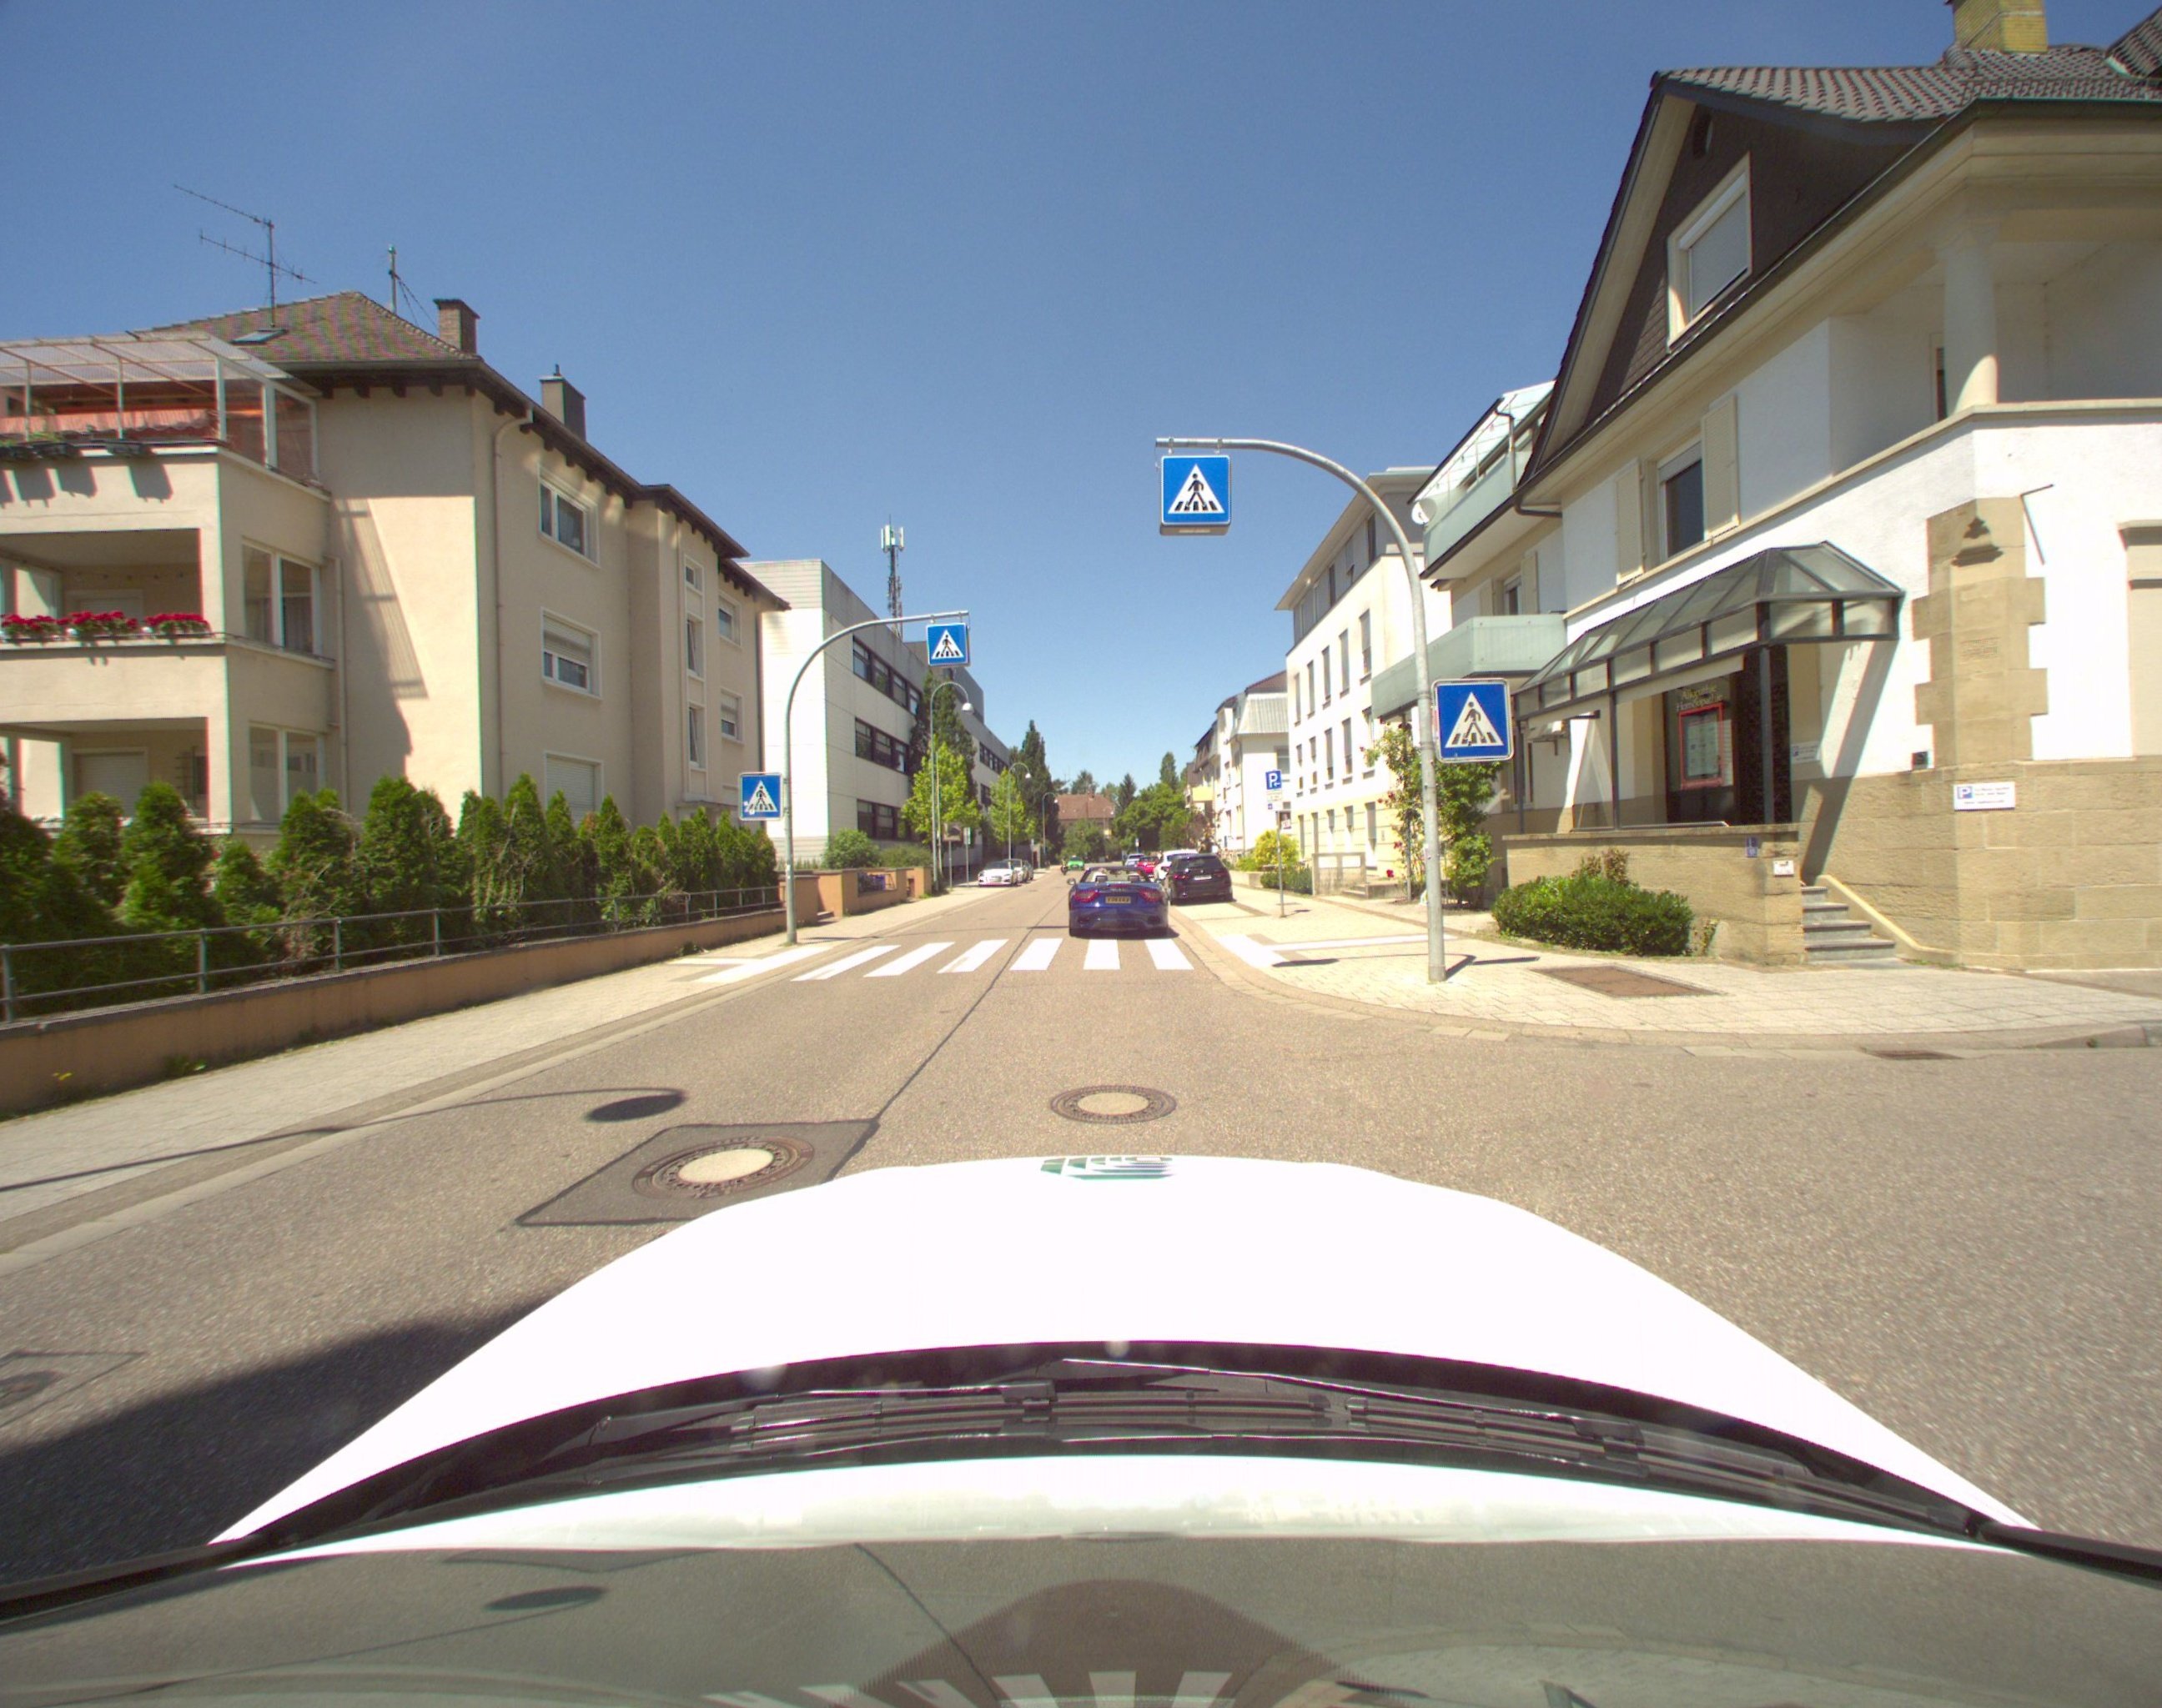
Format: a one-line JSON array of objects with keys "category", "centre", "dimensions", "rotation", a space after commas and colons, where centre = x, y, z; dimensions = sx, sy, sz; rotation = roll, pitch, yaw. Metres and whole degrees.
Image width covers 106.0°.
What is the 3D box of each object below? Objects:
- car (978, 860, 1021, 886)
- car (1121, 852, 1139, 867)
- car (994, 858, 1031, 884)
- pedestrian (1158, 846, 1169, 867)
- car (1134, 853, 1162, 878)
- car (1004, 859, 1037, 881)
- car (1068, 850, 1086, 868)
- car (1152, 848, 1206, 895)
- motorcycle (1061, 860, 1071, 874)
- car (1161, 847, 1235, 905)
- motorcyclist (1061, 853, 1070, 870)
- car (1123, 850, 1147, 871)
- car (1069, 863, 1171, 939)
[{"category": "car", "centre": [-4.556, 1.035, 45.950], "dimensions": [1.815, 1.411, 4.579], "rotation": [0, 0, 2]}, {"category": "car", "centre": [5.046, 0.575, 84.698], "dimensions": [1.626, 1.446, 4.399], "rotation": [-4, 0, 2]}, {"category": "car", "centre": [-4.276, 1.032, 51.456], "dimensions": [1.815, 1.512, 4.291], "rotation": [-1, 0, 2]}, {"category": "pedestrian", "centre": [6.888, 0.214, 68.005], "dimensions": [0.738, 1.669, 0.706], "rotation": [-4, 0, 0]}, {"category": "car", "centre": [4.334, 0.719, 53.404], "dimensions": [1.597, 1.440, 3.856], "rotation": [-5, 0, 3]}, {"category": "car", "centre": [-4.172, 1.071, 56.670], "dimensions": [1.741, 1.409, 3.936], "rotation": [-2, 0, 3]}, {"category": "car", "centre": [-0.420, 0.472, 84.721], "dimensions": [1.817, 1.588, 4.099], "rotation": [-1, 3, -2]}, {"category": "car", "centre": [3.740, 0.637, 31.729], "dimensions": [1.698, 1.666, 4.582], "rotation": [-1, 0, 2]}, {"category": "motorcycle", "centre": [-1.276, 1.046, 68.452], "dimensions": [0.696, 1.107, 1.791], "rotation": [-3, 0, 2]}, {"category": "car", "centre": [3.582, 0.613, 25.706], "dimensions": [1.698, 1.556, 4.750], "rotation": [-4, 0, 2]}, {"category": "motorcyclist", "centre": [-1.307, 0.634, 68.257], "dimensions": [0.696, 1.433, 0.707], "rotation": [-3, 0, 1]}, {"category": "car", "centre": [4.620, 0.520, 70.082], "dimensions": [1.836, 1.619, 4.429], "rotation": [-4, 0, 2]}, {"category": "car", "centre": [0.775, 0.869, 16.968], "dimensions": [1.820, 1.337, 4.702], "rotation": [0, 0, 2]}]
